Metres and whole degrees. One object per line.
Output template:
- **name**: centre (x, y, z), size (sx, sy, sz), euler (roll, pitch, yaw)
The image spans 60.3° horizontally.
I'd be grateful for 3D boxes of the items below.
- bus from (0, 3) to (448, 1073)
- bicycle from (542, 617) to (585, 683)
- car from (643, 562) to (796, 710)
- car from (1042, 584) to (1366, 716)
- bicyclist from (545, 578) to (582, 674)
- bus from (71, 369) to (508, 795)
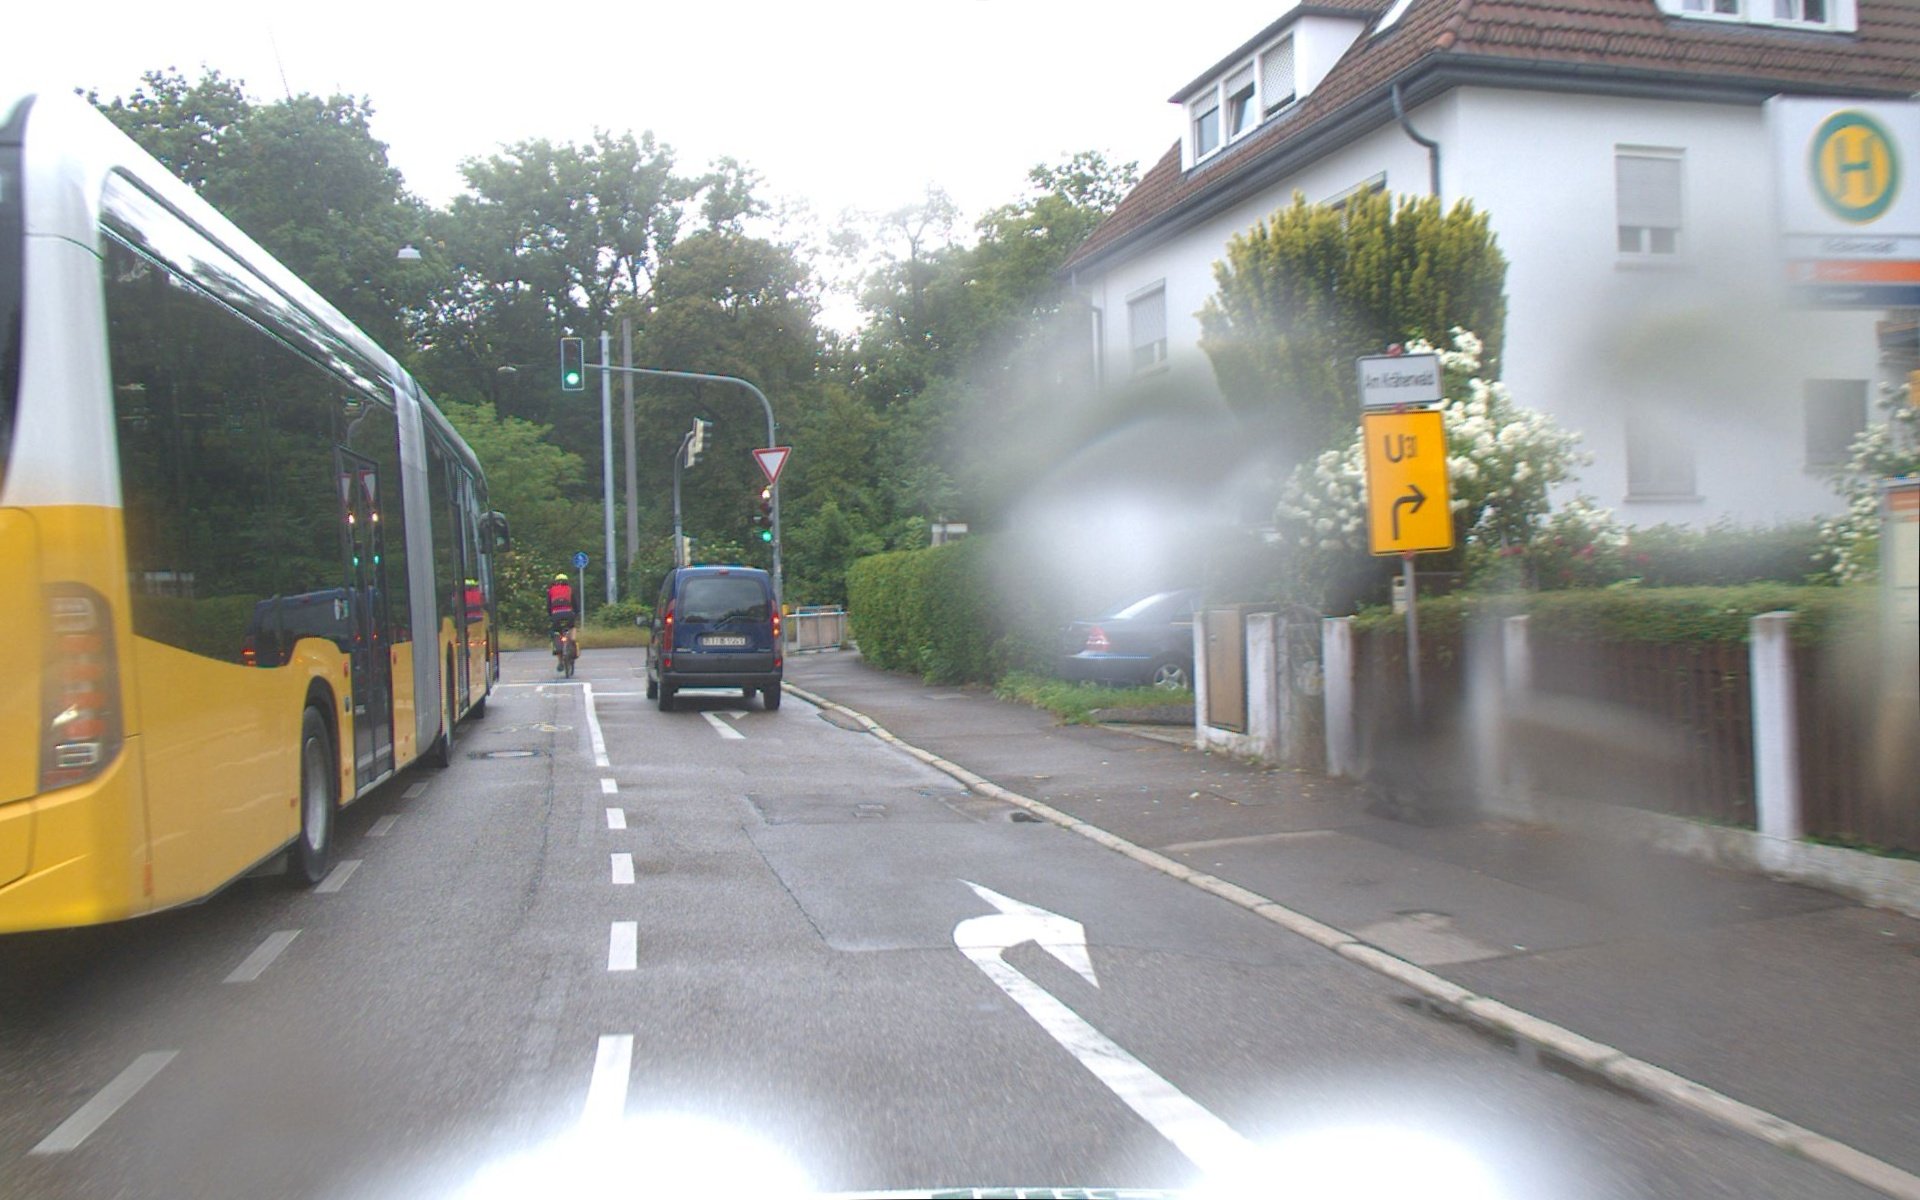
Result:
- **bus**: centre (-4.847, -0.186, 9.405), size (2.629, 3.457, 8.658), euler (-2, 0, -11)
- **bicycle**: centre (-7.157, 0.879, 29.921), size (0.567, 1.115, 2.150), euler (0, 0, -9)
- **car**: centre (-3.393, 0.474, 22.792), size (1.777, 1.829, 3.987), euler (-1, -1, -13)
- **car**: centre (3.018, 0.575, 20.674), size (3.681, 1.412, 1.610), euler (-2, 2, -15)
- **bicyclist**: centre (-7.138, 0.458, 29.815), size (0.567, 1.681, 1.046), euler (0, 0, -9)
- **bus**: centre (-6.729, -0.195, 18.146), size (2.849, 3.457, 9.012), euler (-2, 0, -12)
